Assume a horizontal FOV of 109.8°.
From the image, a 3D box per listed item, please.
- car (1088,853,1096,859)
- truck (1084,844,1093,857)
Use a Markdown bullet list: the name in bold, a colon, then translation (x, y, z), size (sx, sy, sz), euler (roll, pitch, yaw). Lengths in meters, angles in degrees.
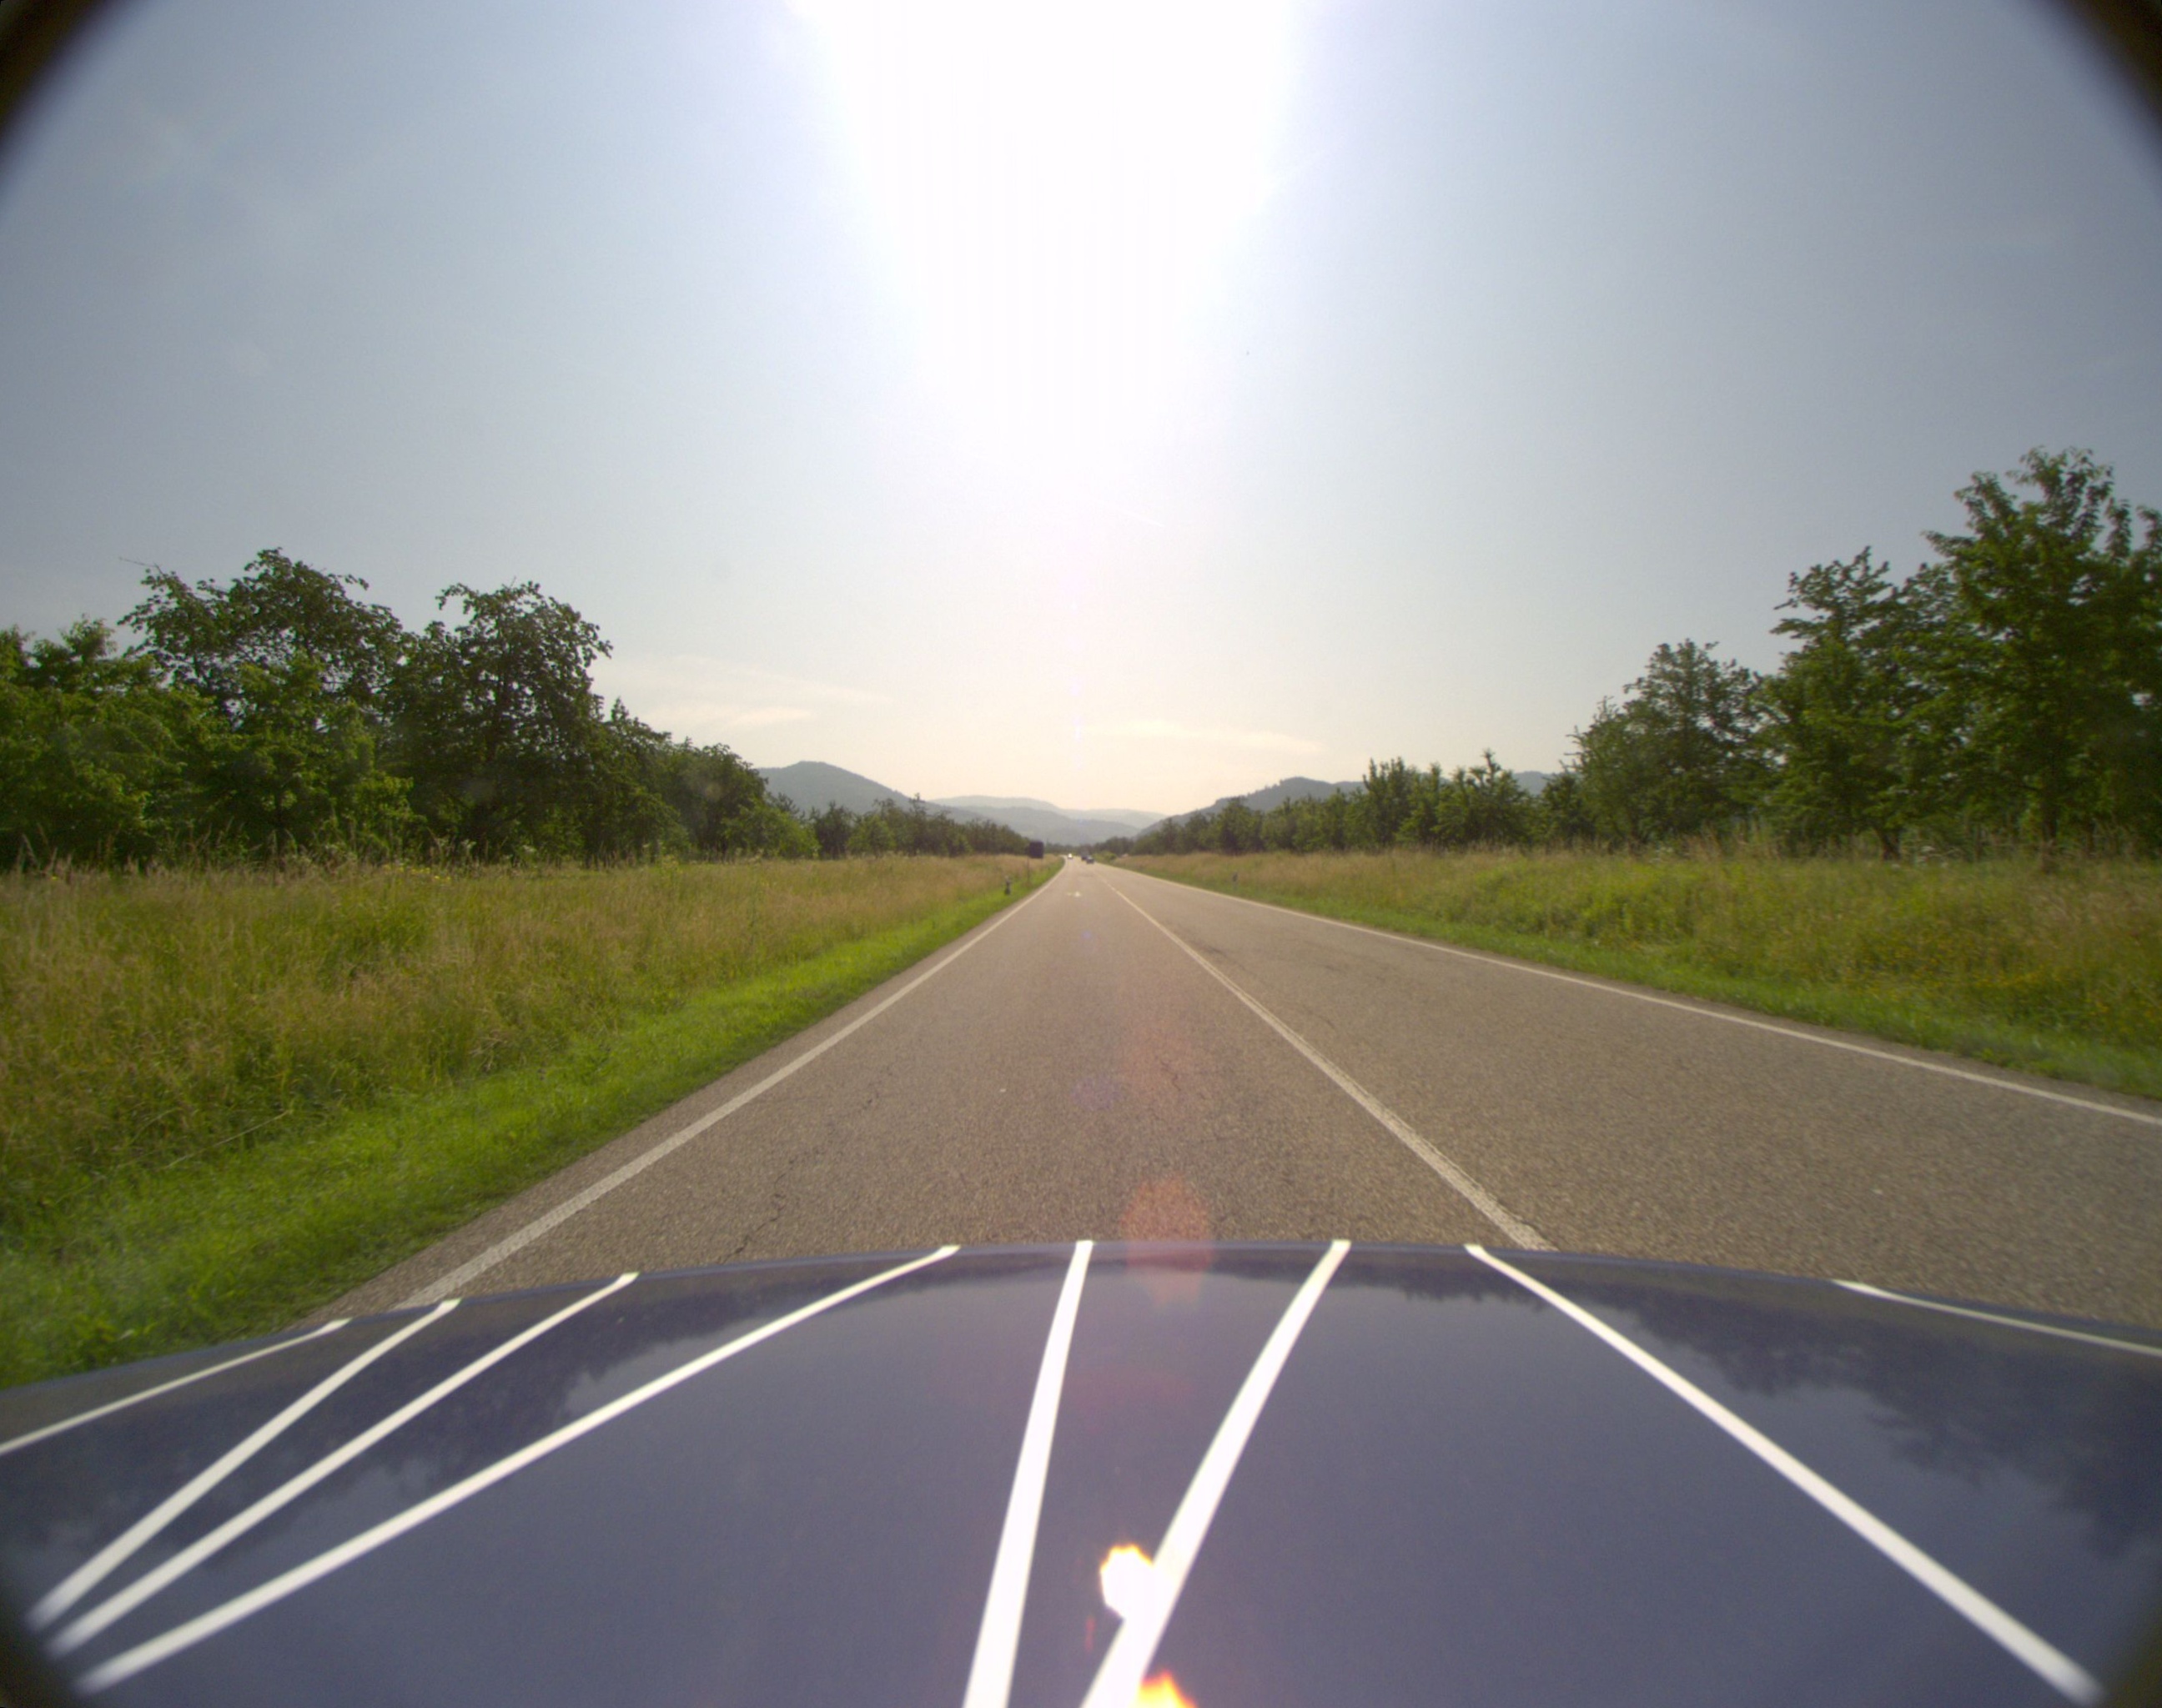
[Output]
- **car**: translation (2.578, 0.557, 179.800), size (1.694, 1.400, 4.893), euler (-1, 0, -1)
- **truck**: translation (2.338, -1.146, 245.411), size (2.671, 3.816, 10.206), euler (-1, 0, -1)
